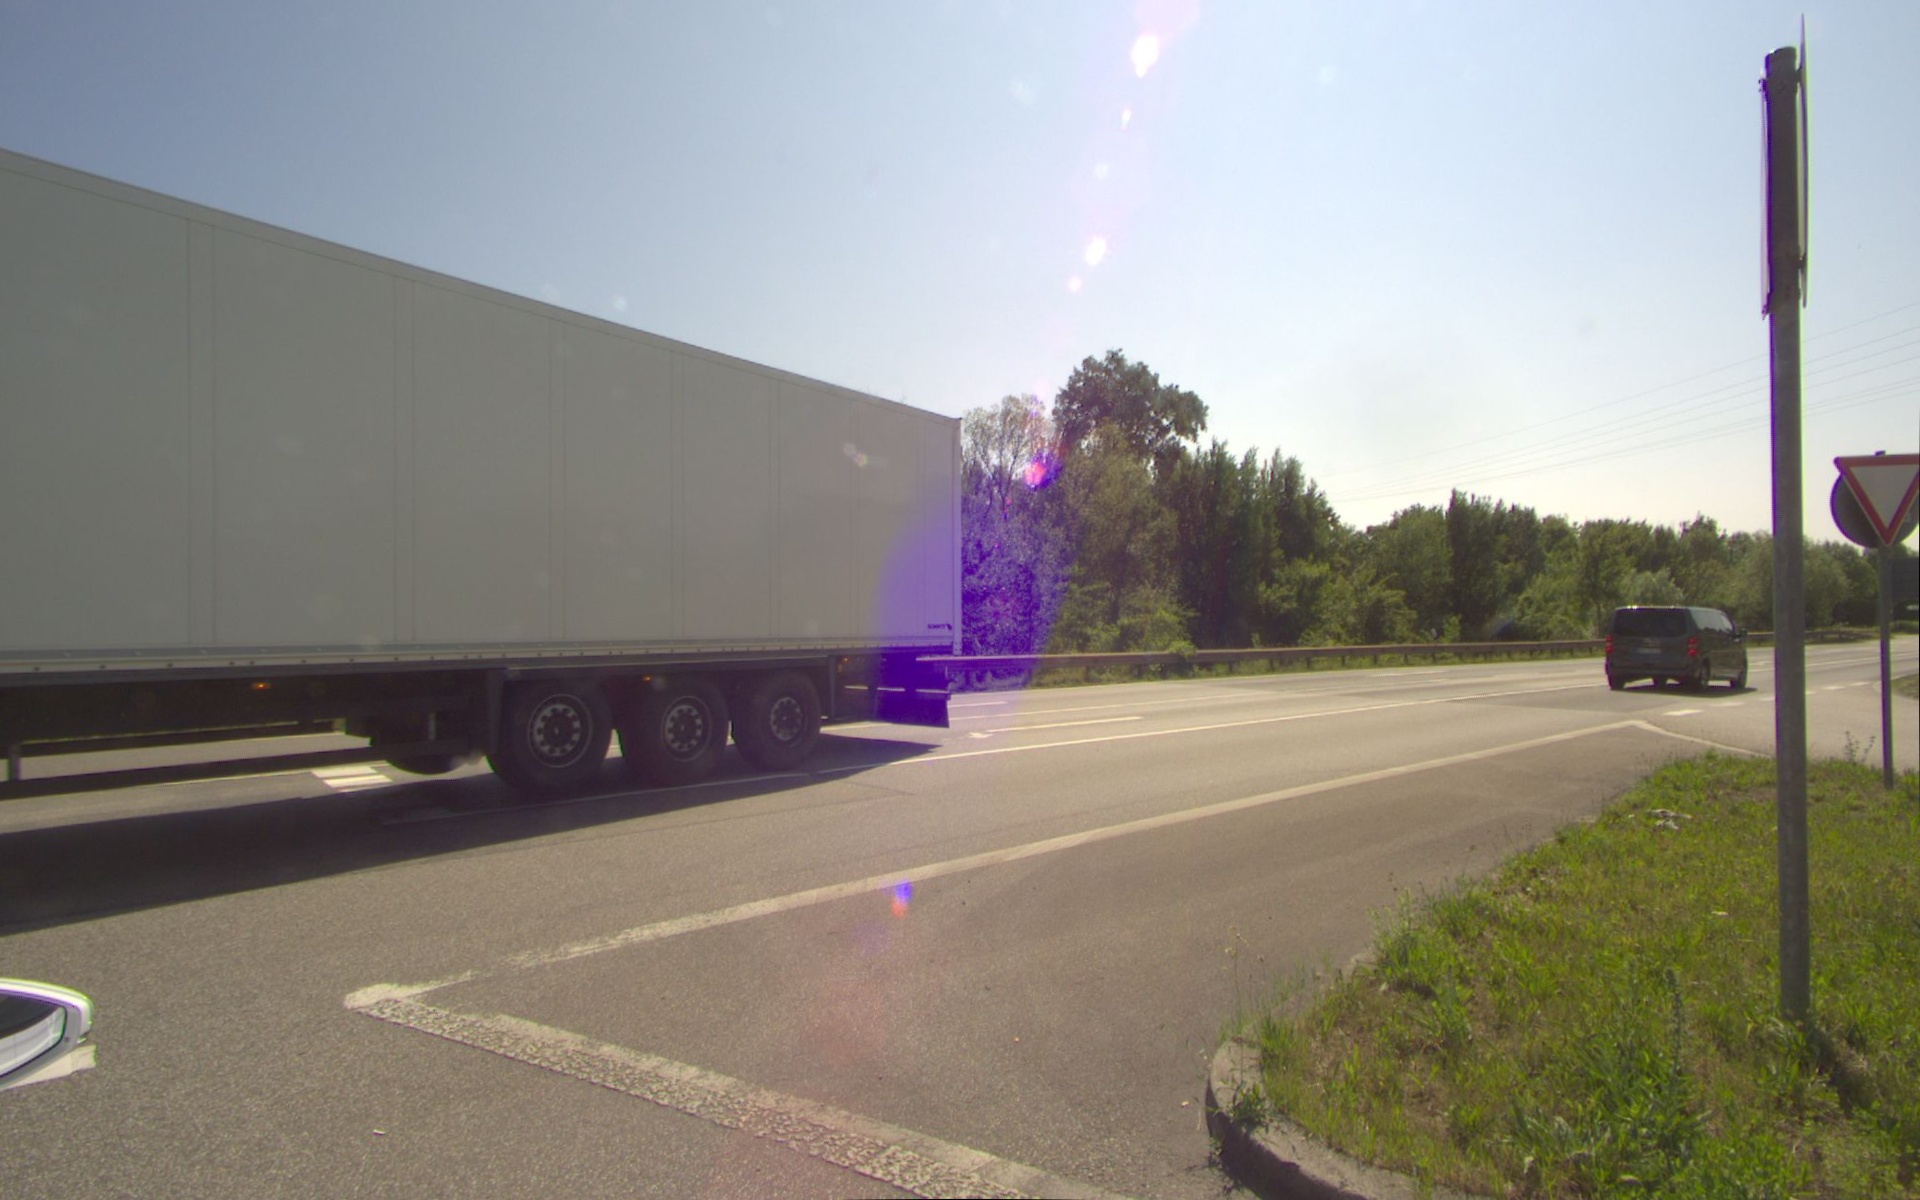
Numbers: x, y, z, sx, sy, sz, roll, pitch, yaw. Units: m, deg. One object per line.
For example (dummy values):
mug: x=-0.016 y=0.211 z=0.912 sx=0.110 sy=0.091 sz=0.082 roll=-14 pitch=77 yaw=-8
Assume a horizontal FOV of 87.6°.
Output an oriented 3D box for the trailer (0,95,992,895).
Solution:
trailer: x=-4.833 y=-0.498 z=8.042 sx=2.859 sy=4.219 sz=13.892 roll=0 pitch=-1 yaw=36

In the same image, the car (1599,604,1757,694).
car: x=17.111 y=1.113 z=23.769 sx=4.942 sy=1.904 sz=1.982 roll=2 pitch=-1 yaw=-42
